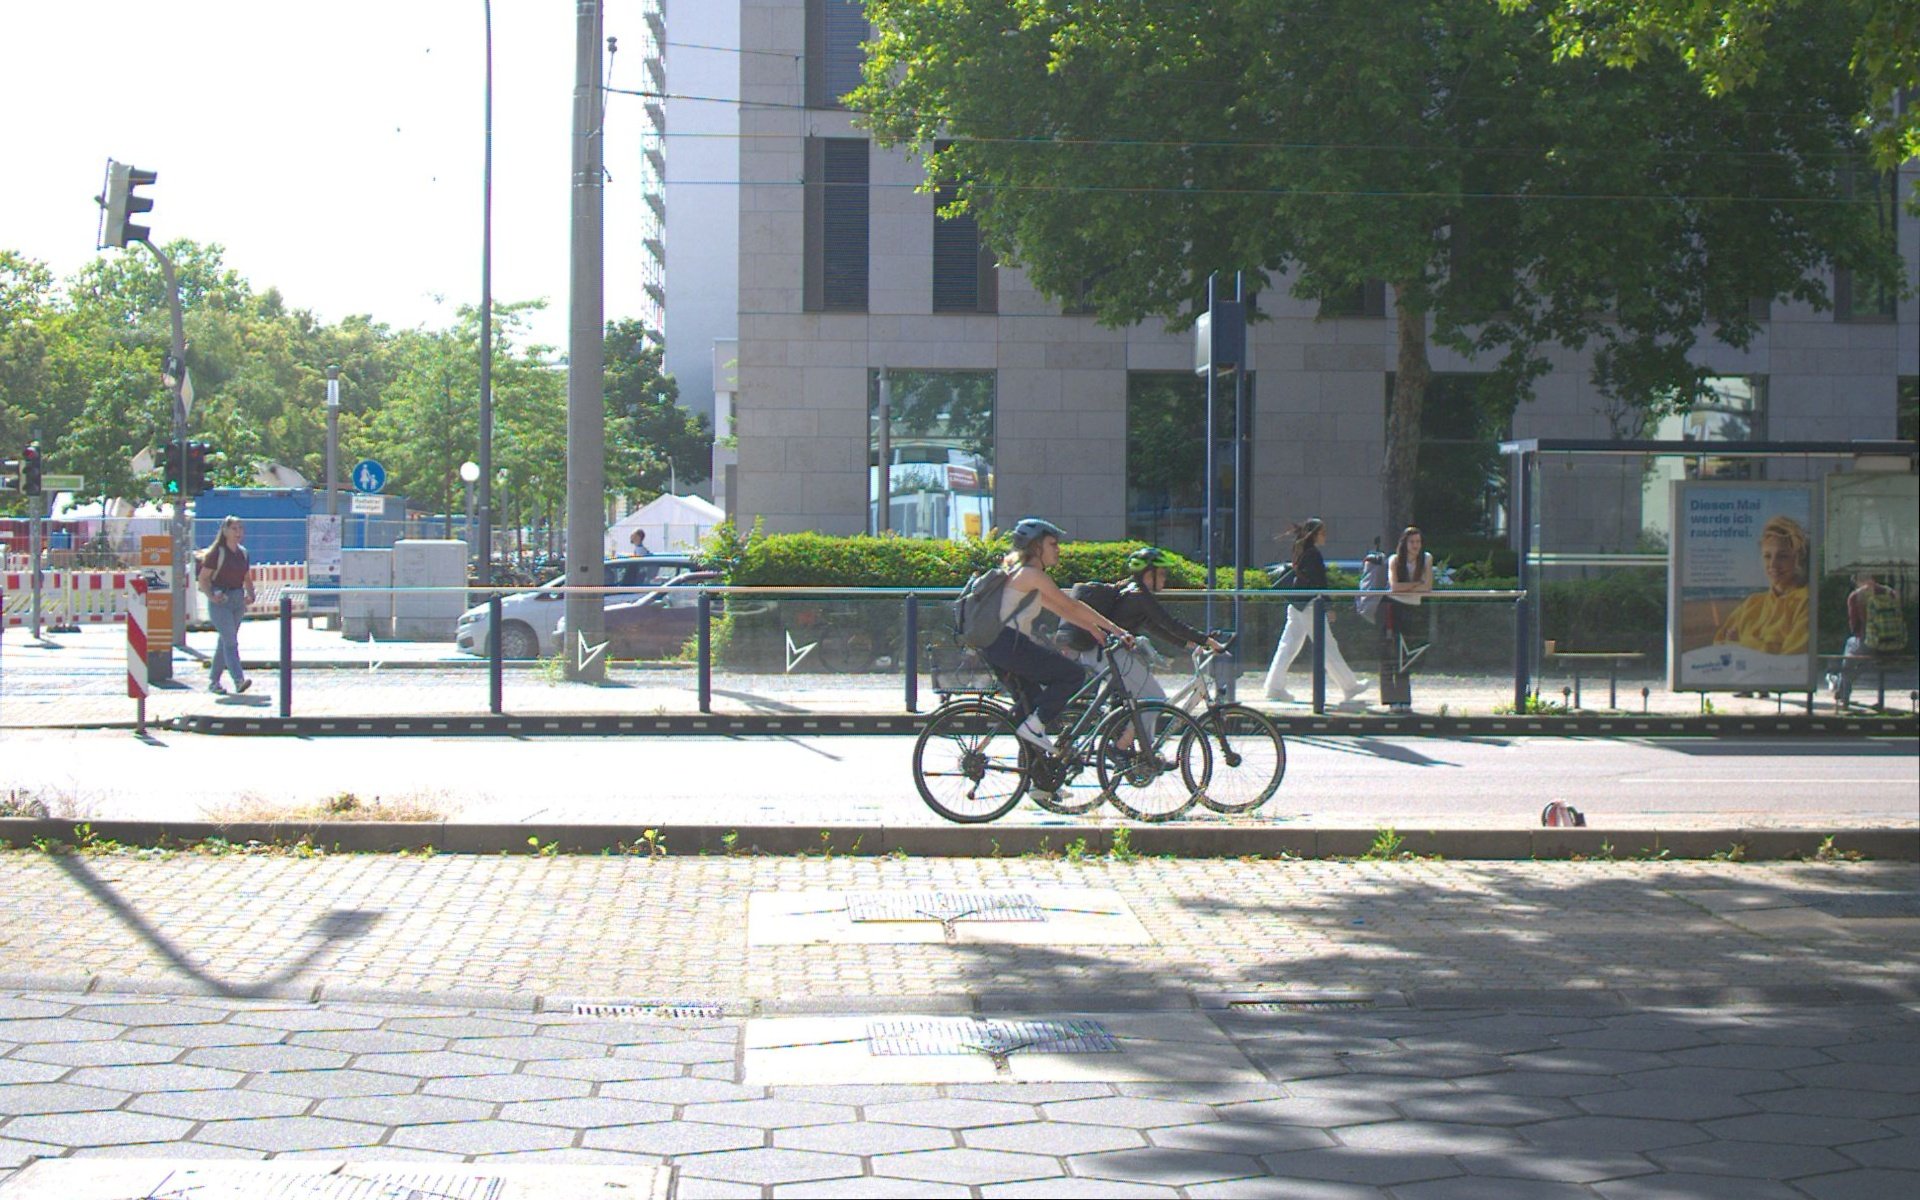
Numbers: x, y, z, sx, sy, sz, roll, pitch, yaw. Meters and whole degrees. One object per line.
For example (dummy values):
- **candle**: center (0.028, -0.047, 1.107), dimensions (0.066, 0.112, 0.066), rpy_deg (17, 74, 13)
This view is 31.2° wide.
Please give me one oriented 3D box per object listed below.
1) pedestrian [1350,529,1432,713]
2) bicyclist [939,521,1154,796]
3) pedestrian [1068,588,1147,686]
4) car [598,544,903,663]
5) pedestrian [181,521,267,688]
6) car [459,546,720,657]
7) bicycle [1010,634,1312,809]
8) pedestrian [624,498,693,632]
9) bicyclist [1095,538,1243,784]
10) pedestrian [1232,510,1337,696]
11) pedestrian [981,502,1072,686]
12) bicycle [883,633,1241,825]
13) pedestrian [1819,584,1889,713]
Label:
- **pedestrian**: center (3.804, 0.175, 30.369), dimensions (0.584, 1.586, 0.670), rpy_deg (0, 2, -3)
- **bicyclist**: center (0.497, 0.334, 20.090), dimensions (1.169, 1.575, 0.640), rpy_deg (1, 1, -6)
- **pedestrian**: center (1.355, 0.339, 31.570), dimensions (0.690, 0.877, 0.503), rpy_deg (1, 1, 6)
- **car**: center (-2.873, 0.039, 46.734), dimensions (3.986, 1.546, 1.704), rpy_deg (0, 1, -8)
- **pedestrian**: center (-6.837, 0.035, 31.948), dimensions (0.650, 1.535, 0.503), rpy_deg (1, 1, 6)
- **car**: center (-5.373, 0.015, 49.660), dimensions (3.681, 1.546, 1.592), rpy_deg (0, 1, -8)
- **bicycle**: center (1.276, 0.768, 21.935), dimensions (1.861, 1.078, 0.525), rpy_deg (1, 1, -4)
- **pedestrian**: center (-5.115, -0.601, 58.465), dimensions (1.108, 2.240, 1.103), rpy_deg (1, 1, -3)
- **bicyclist**: center (1.326, 0.381, 21.933), dimensions (0.862, 1.539, 0.535), rpy_deg (1, 0, -4)
- **pedestrian**: center (2.959, 0.021, 31.328), dimensions (0.932, 1.677, 0.503), rpy_deg (1, 1, 6)
- **pedestrian**: center (0.616, -0.059, 31.646), dimensions (0.777, 1.677, 0.503), rpy_deg (1, 1, 6)
- **bicycle**: center (0.585, 0.746, 20.097), dimensions (2.019, 1.078, 0.640), rpy_deg (1, 1, -6)
- **pedestrian**: center (7.984, 0.426, 30.723), dimensions (0.499, 1.134, 0.524), rpy_deg (1, 1, 3)
